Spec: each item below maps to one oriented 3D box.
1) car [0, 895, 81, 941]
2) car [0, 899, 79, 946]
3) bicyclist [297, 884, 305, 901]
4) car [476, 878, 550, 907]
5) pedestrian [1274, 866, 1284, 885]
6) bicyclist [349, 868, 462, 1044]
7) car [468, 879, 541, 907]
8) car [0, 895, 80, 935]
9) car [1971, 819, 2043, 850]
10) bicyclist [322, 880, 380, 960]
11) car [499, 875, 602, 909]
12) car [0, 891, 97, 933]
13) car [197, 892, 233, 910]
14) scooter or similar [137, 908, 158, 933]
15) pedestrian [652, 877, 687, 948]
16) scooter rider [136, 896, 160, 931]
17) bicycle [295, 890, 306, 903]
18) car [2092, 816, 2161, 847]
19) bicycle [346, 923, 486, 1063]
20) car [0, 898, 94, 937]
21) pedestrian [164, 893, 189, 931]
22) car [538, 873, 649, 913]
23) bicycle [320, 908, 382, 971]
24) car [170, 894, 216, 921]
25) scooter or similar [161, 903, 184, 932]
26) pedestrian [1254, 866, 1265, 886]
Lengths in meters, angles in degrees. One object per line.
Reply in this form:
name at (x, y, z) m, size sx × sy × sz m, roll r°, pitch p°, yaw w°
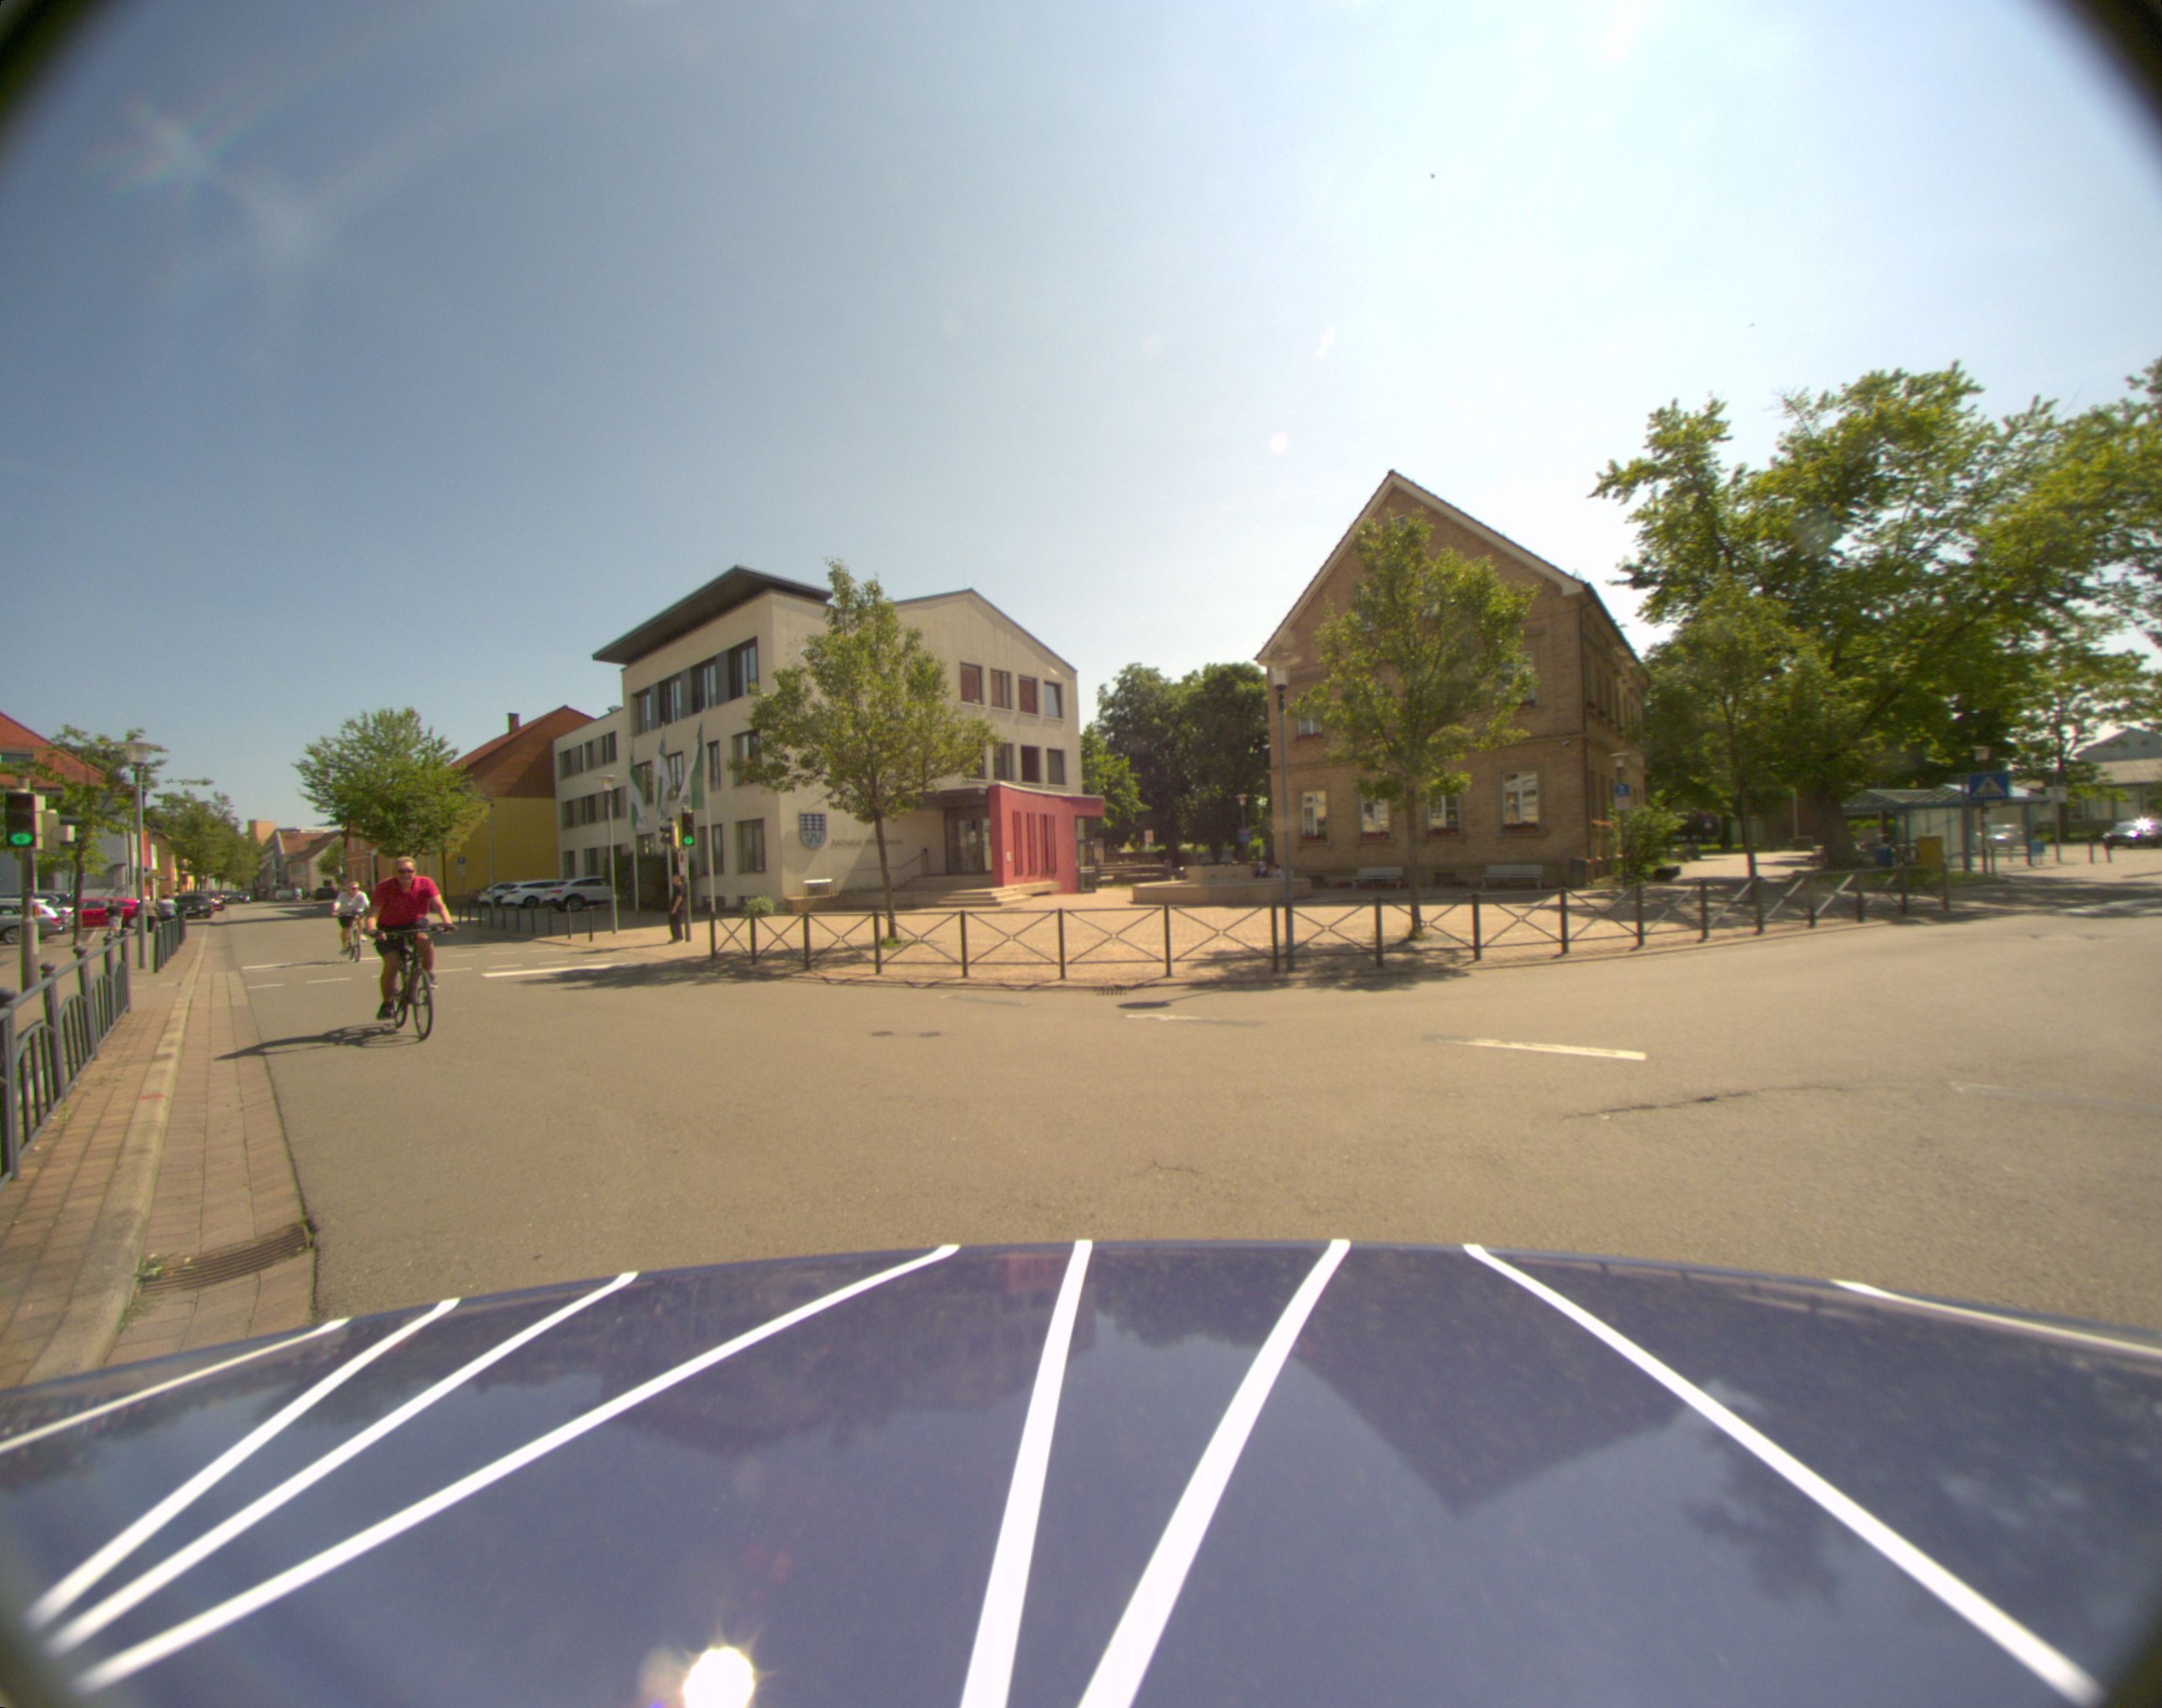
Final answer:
car at (-38.922, 2.316, 26.991) m, size 1.708 × 1.550 × 4.056 m, roll -2°, pitch -2°, yaw 36°
car at (-36.789, 2.306, 25.085) m, size 1.686 × 1.457 × 4.457 m, roll -1°, pitch -1°, yaw 36°
bicyclist at (-78.466, 3.853, 76.419) m, size 0.549 × 1.630 × 0.540 m, roll -2°, pitch 0°, yaw 40°
car at (-33.329, 2.250, 44.617) m, size 1.638 × 1.442 × 3.147 m, roll -2°, pitch 1°, yaw 43°
pedestrian at (7.862, 0.865, 30.123) m, size 0.289 × 0.728 × 0.358 m, roll -2°, pitch 0°, yaw 25°
bicyclist at (-7.110, 1.021, 8.001) m, size 0.757 × 1.707 × 0.704 m, roll -1°, pitch 2°, yaw 39°
car at (-34.944, 2.332, 46.115) m, size 1.370 × 1.393 × 3.266 m, roll -2°, pitch 1°, yaw 40°
car at (-44.960, 2.573, 31.933) m, size 1.486 × 1.543 × 3.439 m, roll -2°, pitch -1°, yaw 37°
car at (51.874, -1.086, 42.557) m, size 4.006 × 1.607 × 1.995 m, roll -2°, pitch 0°, yaw -31°
bicyclist at (-15.380, 1.366, 16.010) m, size 0.876 × 1.572 × 0.704 m, roll -1°, pitch 2°, yaw 39°
car at (-29.026, 2.046, 41.662) m, size 1.509 × 1.470 × 4.335 m, roll -2°, pitch 2°, yaw 42°
car at (-46.206, 2.538, 33.745) m, size 1.341 × 1.726 × 3.049 m, roll -2°, pitch -2°, yaw 37°
car at (-67.041, 3.600, 58.814) m, size 3.241 × 1.298 × 1.534 m, roll -2°, pitch -2°, yaw 36°
scooter or similar at (-36.320, 2.585, 29.565) m, size 0.957 × 0.959 × 0.413 m, roll -4°, pitch -2°, yaw 44°
pedestrian at (-9.727, 1.371, 17.970) m, size 0.550 × 1.609 × 0.556 m, roll -2°, pitch 1°, yaw -14°
scooter rider at (-36.245, 2.305, 29.520) m, size 1.130 × 1.317 × 0.464 m, roll -2°, pitch 0°, yaw 43°
bicycle at (-78.536, 4.286, 76.447) m, size 1.720 × 1.182 × 0.596 m, roll -2°, pitch 1°, yaw 40°
car at (53.614, -1.170, 38.666) m, size 3.783 × 1.459 × 1.648 m, roll -1°, pitch 0°, yaw -22°
bicycle at (-6.951, 1.364, 7.910) m, size 1.965 × 1.182 × 0.740 m, roll -2°, pitch -1°, yaw 38°
car at (-43.140, 2.556, 30.353) m, size 1.652 × 1.433 × 4.456 m, roll -2°, pitch -2°, yaw 34°
pedestrian at (-36.607, 2.349, 30.742) m, size 1.045 × 1.507 × 0.514 m, roll -2°, pitch -1°, yaw 33°
car at (-23.029, 1.812, 36.007) m, size 1.744 × 1.539 × 4.007 m, roll -2°, pitch 1°, yaw 40°
bicycle at (-15.363, 1.765, 15.986) m, size 1.794 × 1.182 × 0.691 m, roll -2°, pitch -1°, yaw 38°
car at (-52.801, 3.143, 45.160) m, size 3.512 × 1.444 × 1.534 m, roll -2°, pitch -1°, yaw 37°
scooter or similar at (-37.404, 2.607, 31.279) m, size 0.906 × 1.112 × 0.507 m, roll -2°, pitch -1°, yaw 34°
pedestrian at (7.192, 0.882, 30.605) m, size 0.366 × 0.812 × 0.362 m, roll -2°, pitch 0°, yaw 25°
